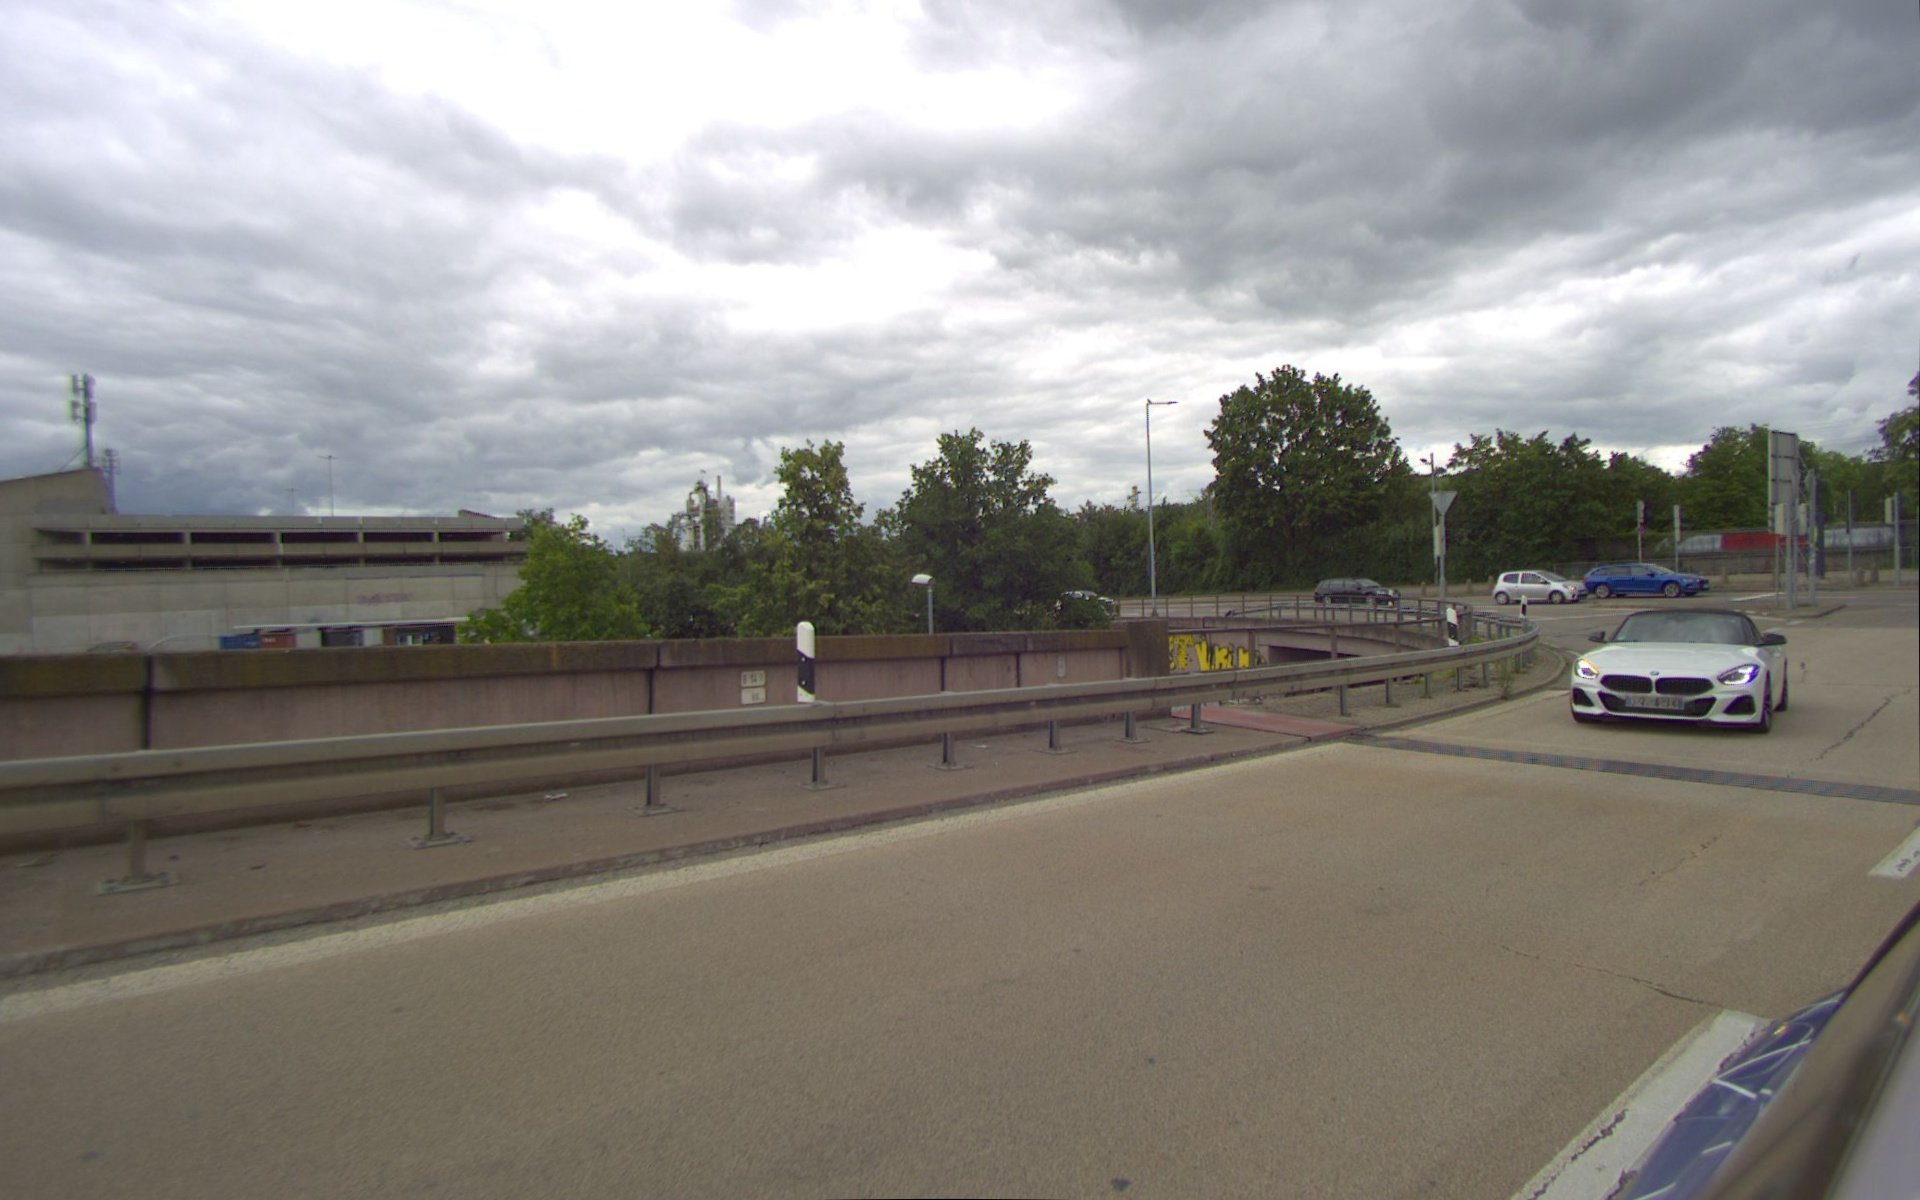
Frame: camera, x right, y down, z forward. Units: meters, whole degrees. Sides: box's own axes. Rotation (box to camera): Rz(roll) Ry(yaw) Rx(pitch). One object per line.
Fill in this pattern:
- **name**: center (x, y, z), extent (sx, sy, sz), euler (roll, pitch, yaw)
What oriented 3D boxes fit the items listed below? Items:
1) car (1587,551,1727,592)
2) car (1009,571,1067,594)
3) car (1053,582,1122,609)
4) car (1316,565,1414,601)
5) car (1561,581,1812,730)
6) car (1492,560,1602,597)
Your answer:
- **car**: center (29.302, -1.171, 42.700), extent (1.579, 1.472, 4.545), euler (-5, 2, -31)
- **car**: center (7.059, -1.539, 92.381), extent (2.096, 1.777, 5.489), euler (-5, 2, -36)
- **car**: center (8.789, -0.277, 69.978), extent (1.845, 1.579, 4.711), euler (-5, 2, -38)
- **car**: center (20.765, -0.870, 51.999), extent (1.912, 1.575, 4.294), euler (-5, 2, -34)
- **car**: center (9.160, 0.550, 12.583), extent (1.858, 1.361, 4.750), euler (-2, 1, 44)
- **car**: center (25.287, -0.904, 43.701), extent (1.598, 1.391, 3.750), euler (-5, 2, -33)
